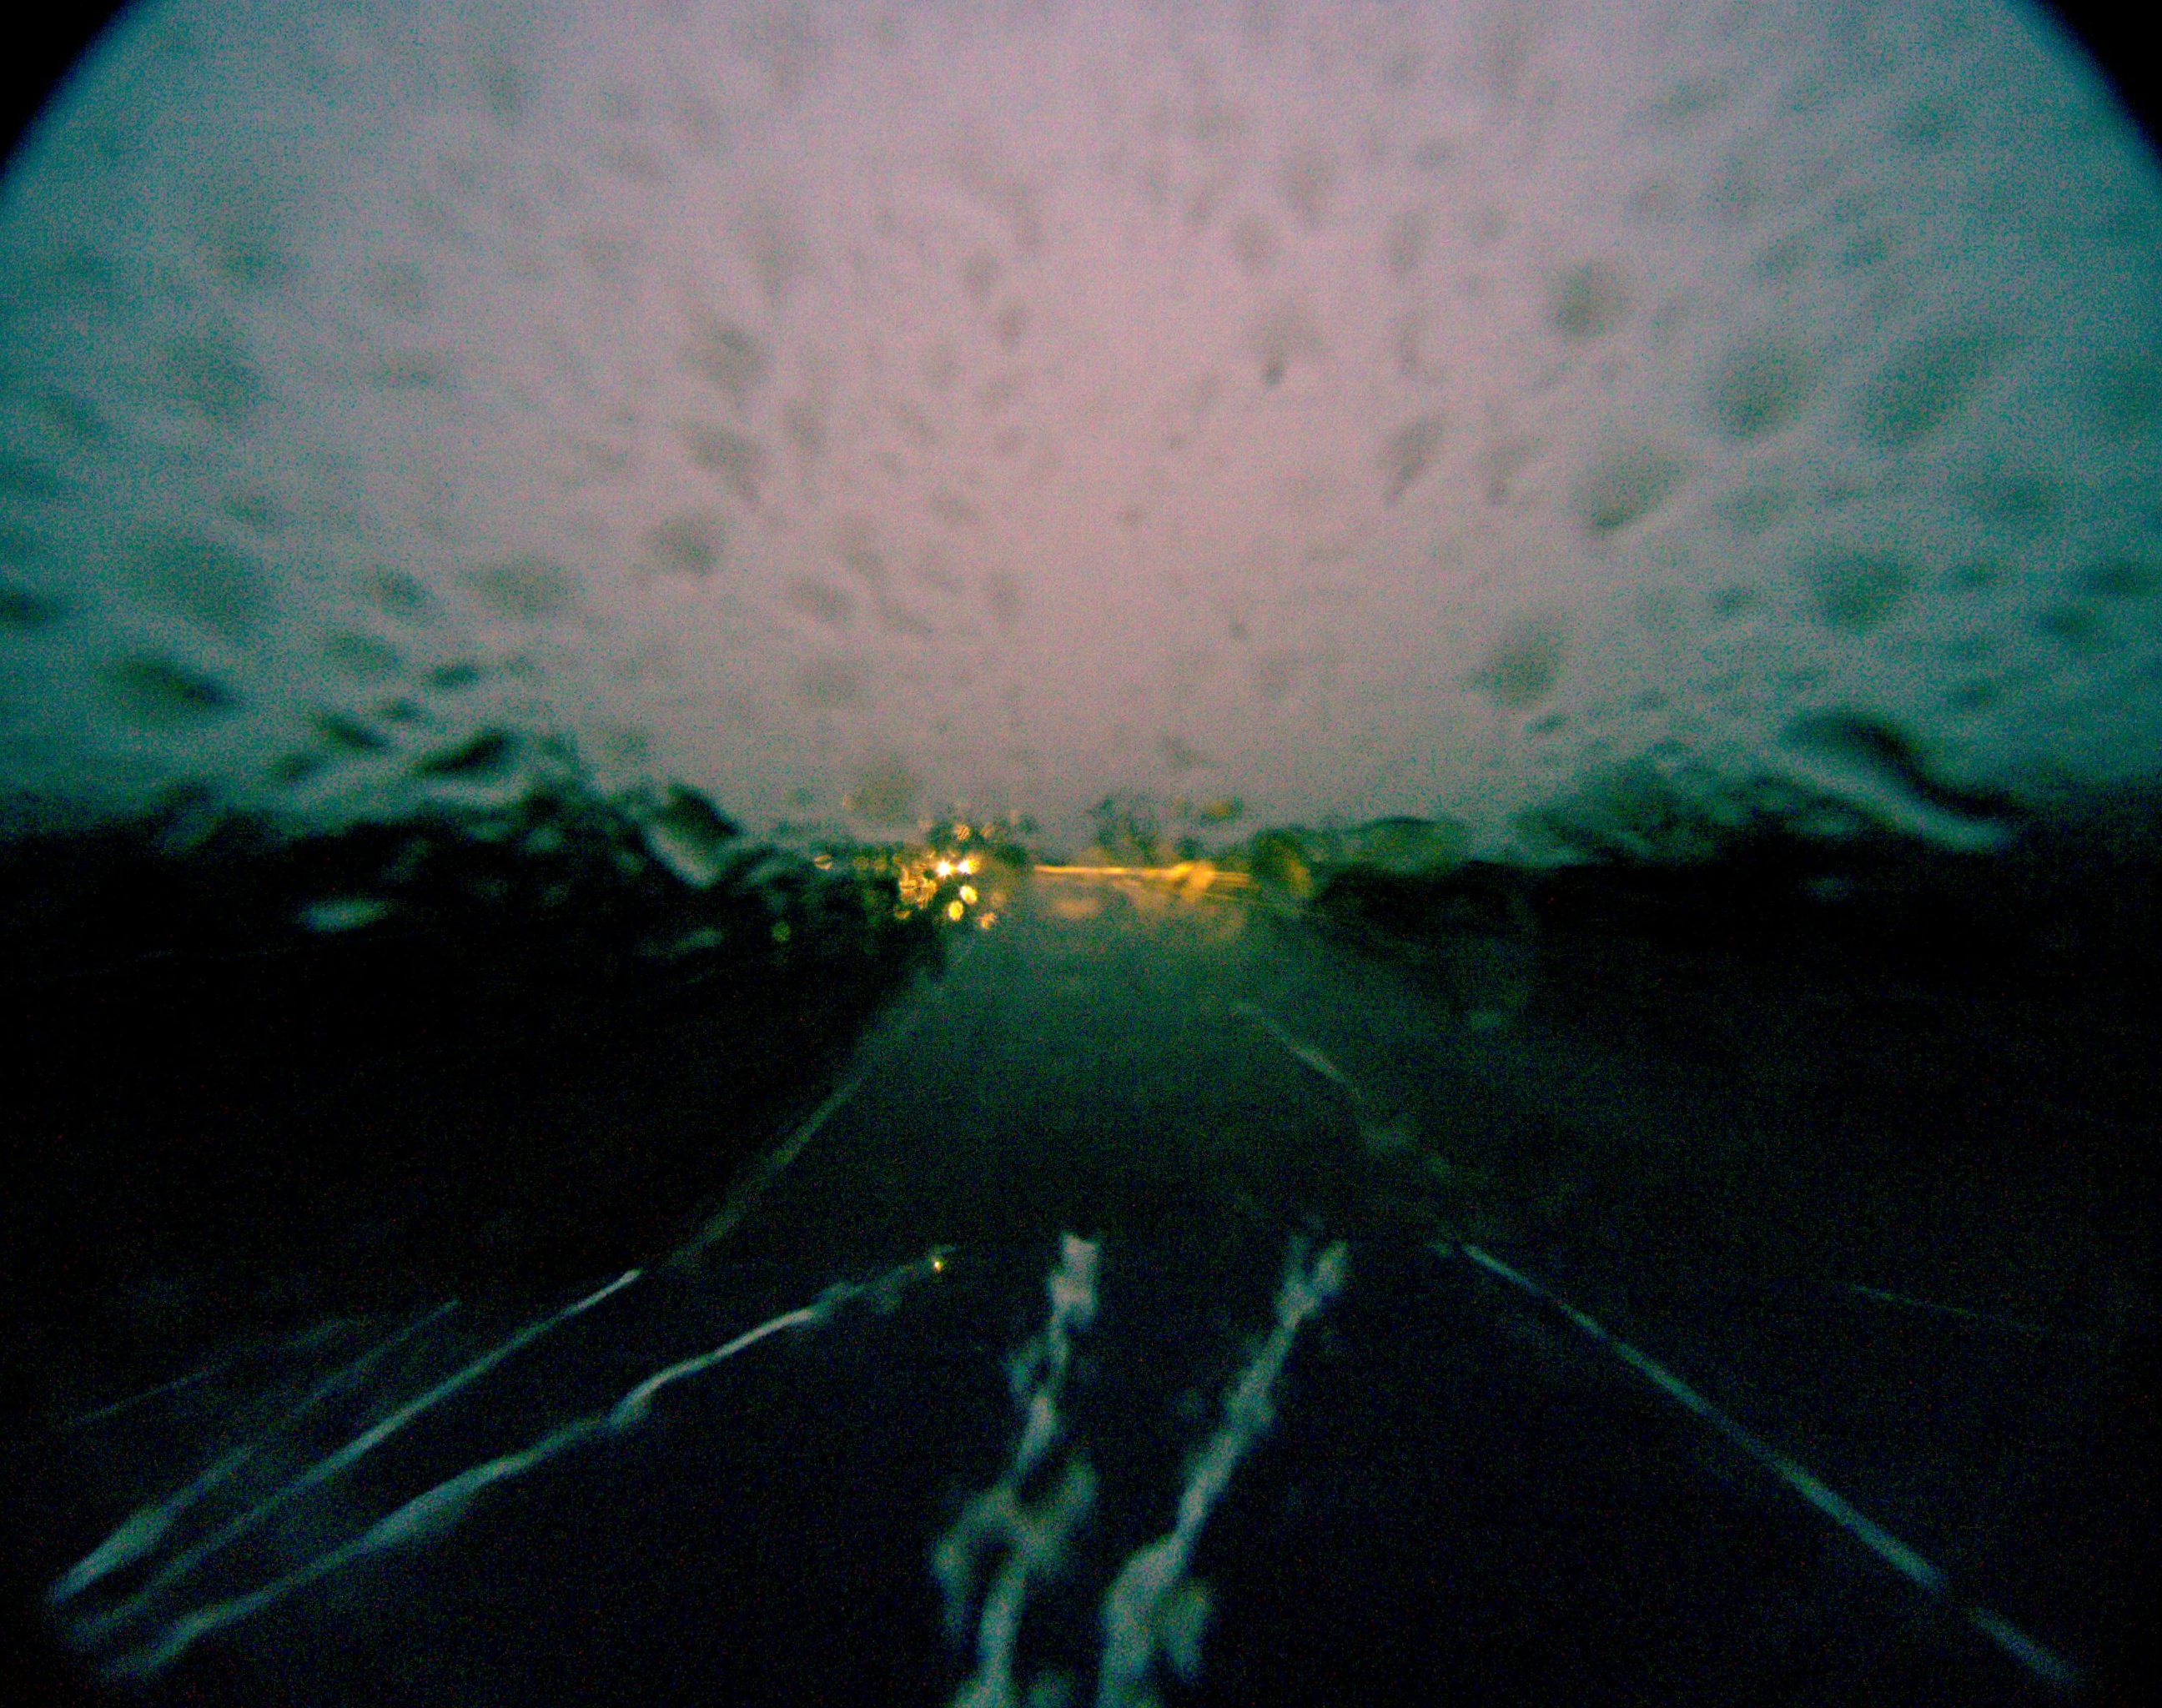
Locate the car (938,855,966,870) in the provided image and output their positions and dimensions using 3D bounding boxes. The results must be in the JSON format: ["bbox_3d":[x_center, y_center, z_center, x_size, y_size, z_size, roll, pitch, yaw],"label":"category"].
[{"bbox_3d":[-13.911,0.862,81.817,2.106,1.566,4.791,0,0,-21],"label":"car"}]
